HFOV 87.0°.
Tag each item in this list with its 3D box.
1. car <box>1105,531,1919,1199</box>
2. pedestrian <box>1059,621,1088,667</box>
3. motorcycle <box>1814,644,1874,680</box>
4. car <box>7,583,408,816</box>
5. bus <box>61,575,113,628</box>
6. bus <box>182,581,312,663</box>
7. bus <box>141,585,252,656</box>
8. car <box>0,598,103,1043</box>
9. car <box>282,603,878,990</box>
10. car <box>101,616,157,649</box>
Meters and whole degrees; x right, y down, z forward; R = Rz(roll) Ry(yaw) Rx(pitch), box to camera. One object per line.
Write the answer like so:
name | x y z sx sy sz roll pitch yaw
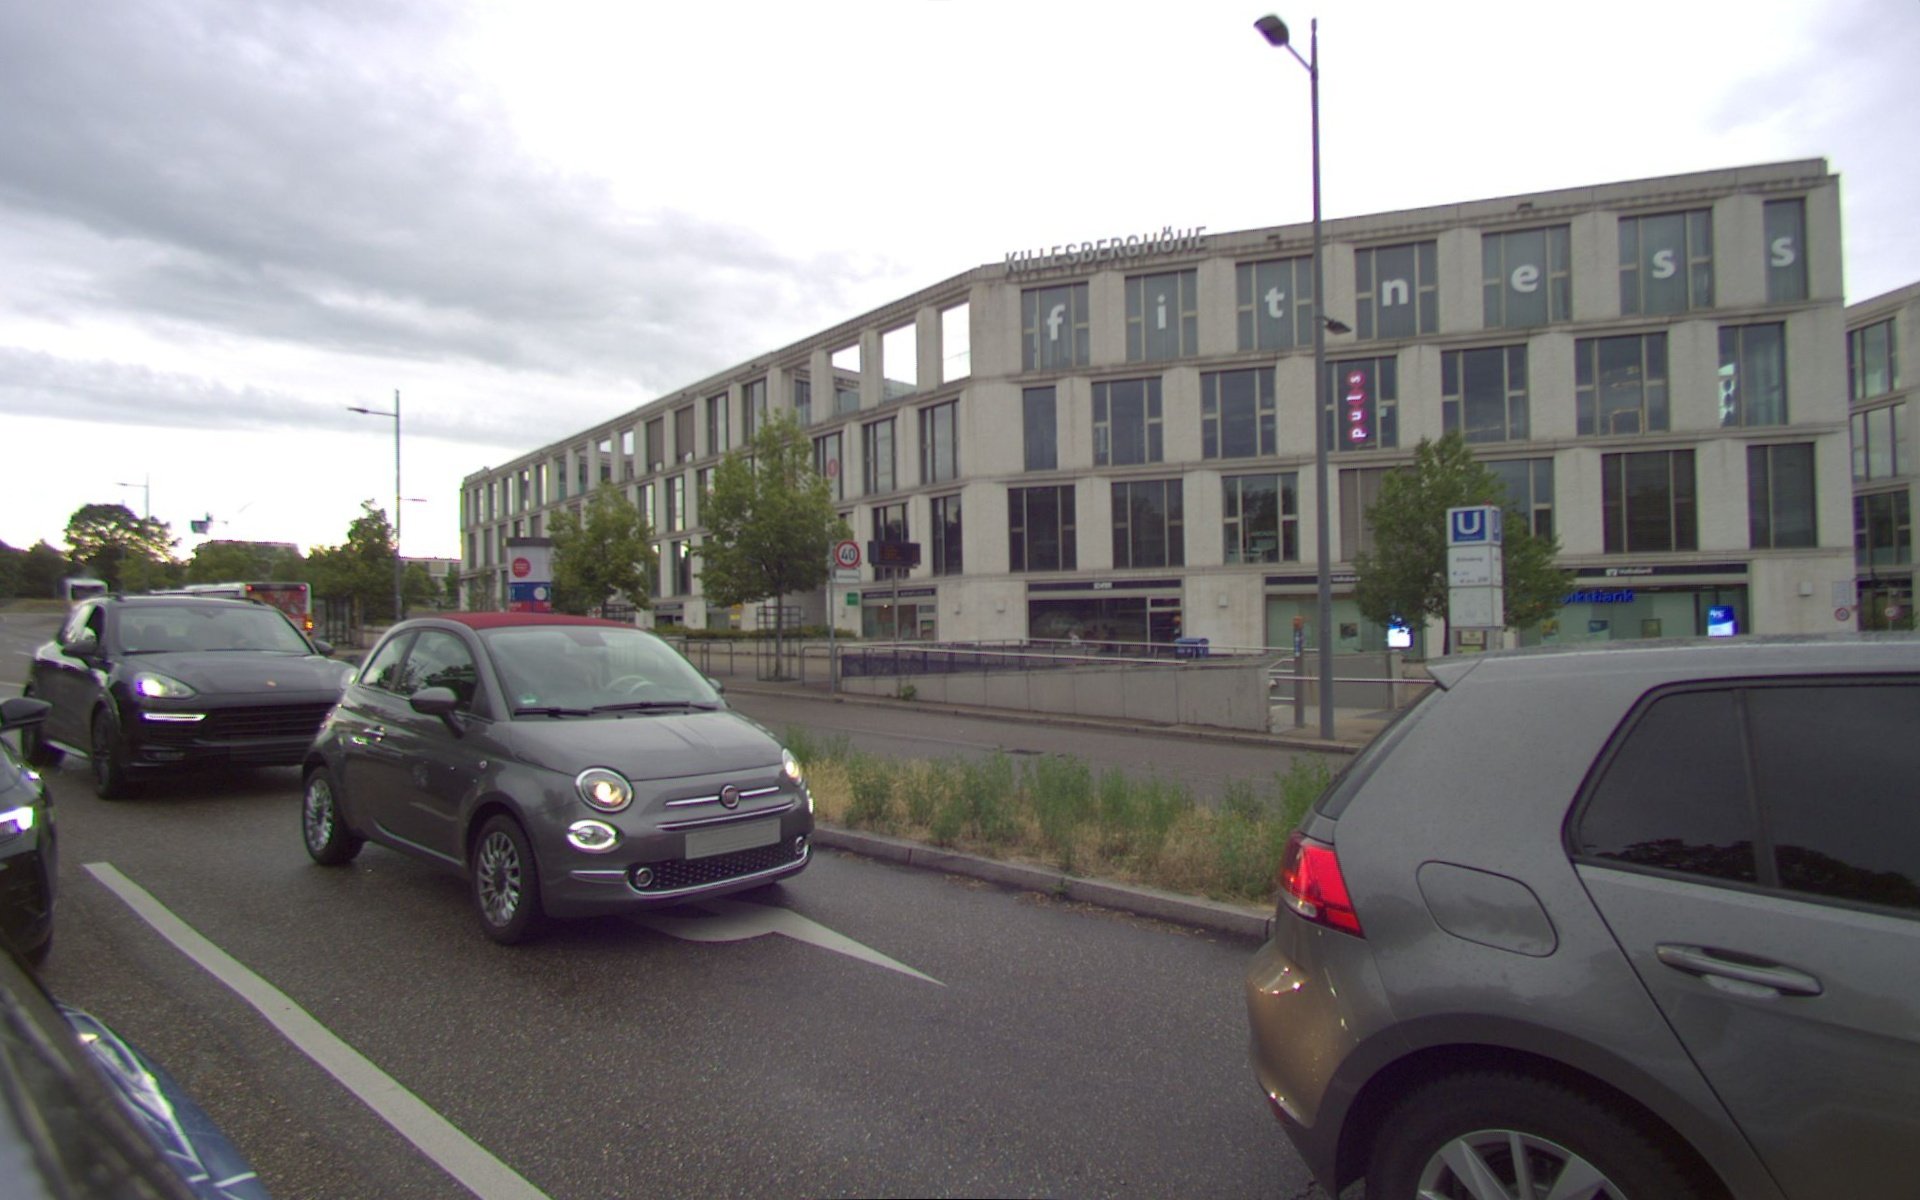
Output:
car | 2.553 0.651 1.506 4.374 1.492 1.797 -1 -2 41
pedestrian | 4.020 1.557 35.846 0.907 1.617 0.760 0 -1 18
motorcycle | 20.439 1.423 23.418 0.517 0.746 1.098 -1 0 9
car | -7.175 0.757 9.465 4.612 1.671 1.910 -1 -1 39
bus | -76.110 0.215 88.491 2.717 4.185 19.383 -1 0 -39
bus | -31.142 0.897 44.008 9.206 3.236 2.723 -1 0 43
bus | -38.167 0.962 50.416 9.911 3.205 2.658 -1 0 42
car | -5.420 0.760 4.425 4.766 1.476 1.877 -1 0 41
car | -2.270 0.793 5.671 3.503 1.492 1.610 -1 -2 40
car | -47.162 1.803 57.409 3.998 1.800 1.843 -1 0 41
